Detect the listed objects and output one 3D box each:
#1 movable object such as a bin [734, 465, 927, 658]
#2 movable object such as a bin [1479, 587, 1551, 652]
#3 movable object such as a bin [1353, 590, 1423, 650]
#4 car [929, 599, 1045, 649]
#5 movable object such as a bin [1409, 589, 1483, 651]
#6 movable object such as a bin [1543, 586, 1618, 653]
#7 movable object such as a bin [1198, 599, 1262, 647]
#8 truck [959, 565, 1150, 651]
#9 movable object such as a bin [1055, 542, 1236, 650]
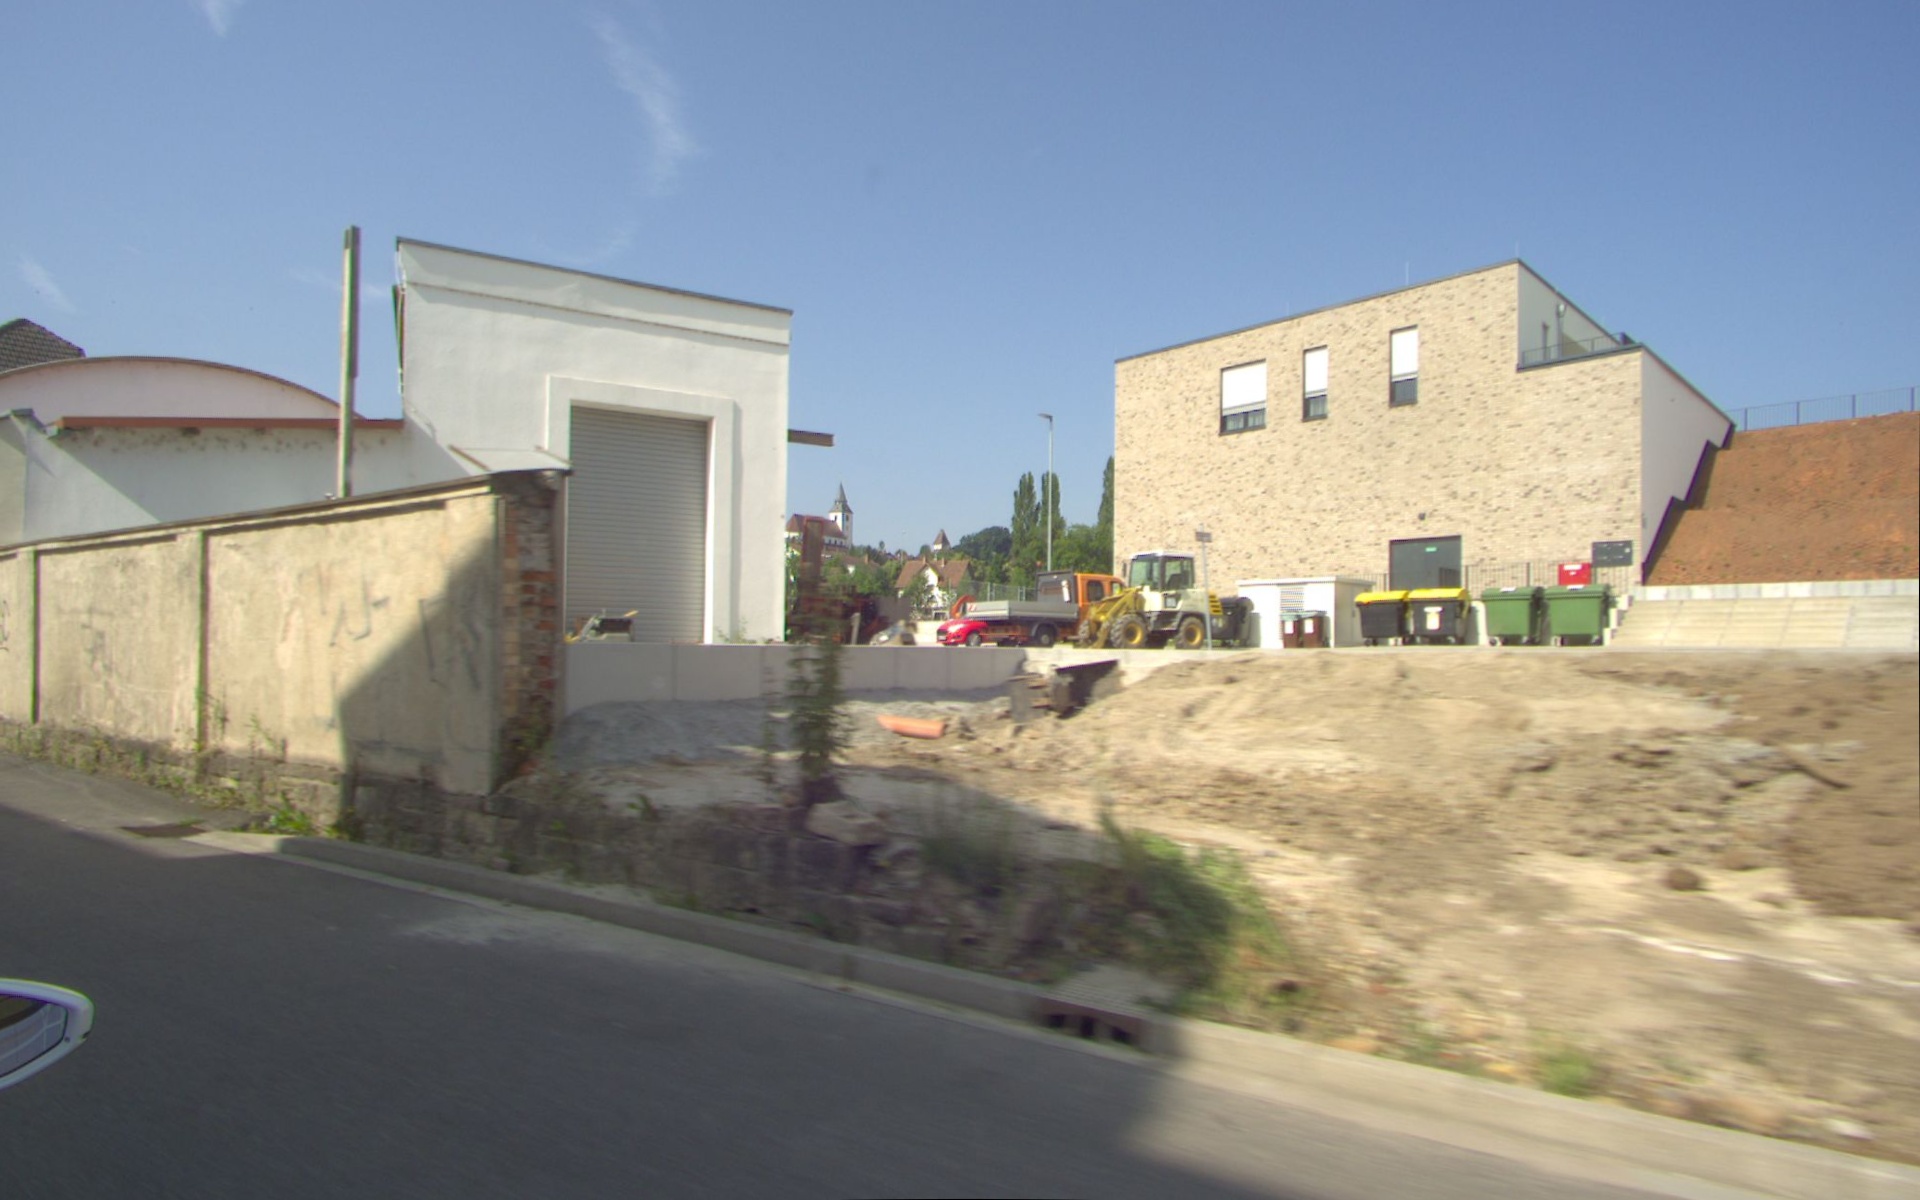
[{"bbox_3d":[-3.143,-0.592,22.882,2.814,3.665,5.722,4,-4,-22],"label":"movable object such as a bin"},{"bbox_3d":[13.854,0.499,24.980,1.306,1.481,1.294,-1,-5,43],"label":"movable object such as a bin"},{"bbox_3d":[11.687,0.565,27.323,1.306,1.481,1.573,-1,-5,43],"label":"movable object such as a bin"},{"bbox_3d":[0.919,0.853,34.013,3.709,1.536,1.496,2,-4,-27],"label":"car"},{"bbox_3d":[12.767,0.543,26.304,1.306,1.481,1.686,-1,-5,43],"label":"movable object such as a bin"},{"bbox_3d":[14.855,0.473,23.956,1.306,1.481,1.294,-1,-5,43],"label":"movable object such as a bin"},{"bbox_3d":[7.800,0.682,28.933,1.306,1.283,1.290,-1,-5,43],"label":"movable object such as a bin"},{"bbox_3d":[2.773,0.286,28.954,5.259,2.294,2.207,1,-2,-32],"label":"truck"},{"bbox_3d":[4.861,-0.037,26.069,4.564,2.602,1.915,1,-2,-32],"label":"movable object such as a bin"}]
